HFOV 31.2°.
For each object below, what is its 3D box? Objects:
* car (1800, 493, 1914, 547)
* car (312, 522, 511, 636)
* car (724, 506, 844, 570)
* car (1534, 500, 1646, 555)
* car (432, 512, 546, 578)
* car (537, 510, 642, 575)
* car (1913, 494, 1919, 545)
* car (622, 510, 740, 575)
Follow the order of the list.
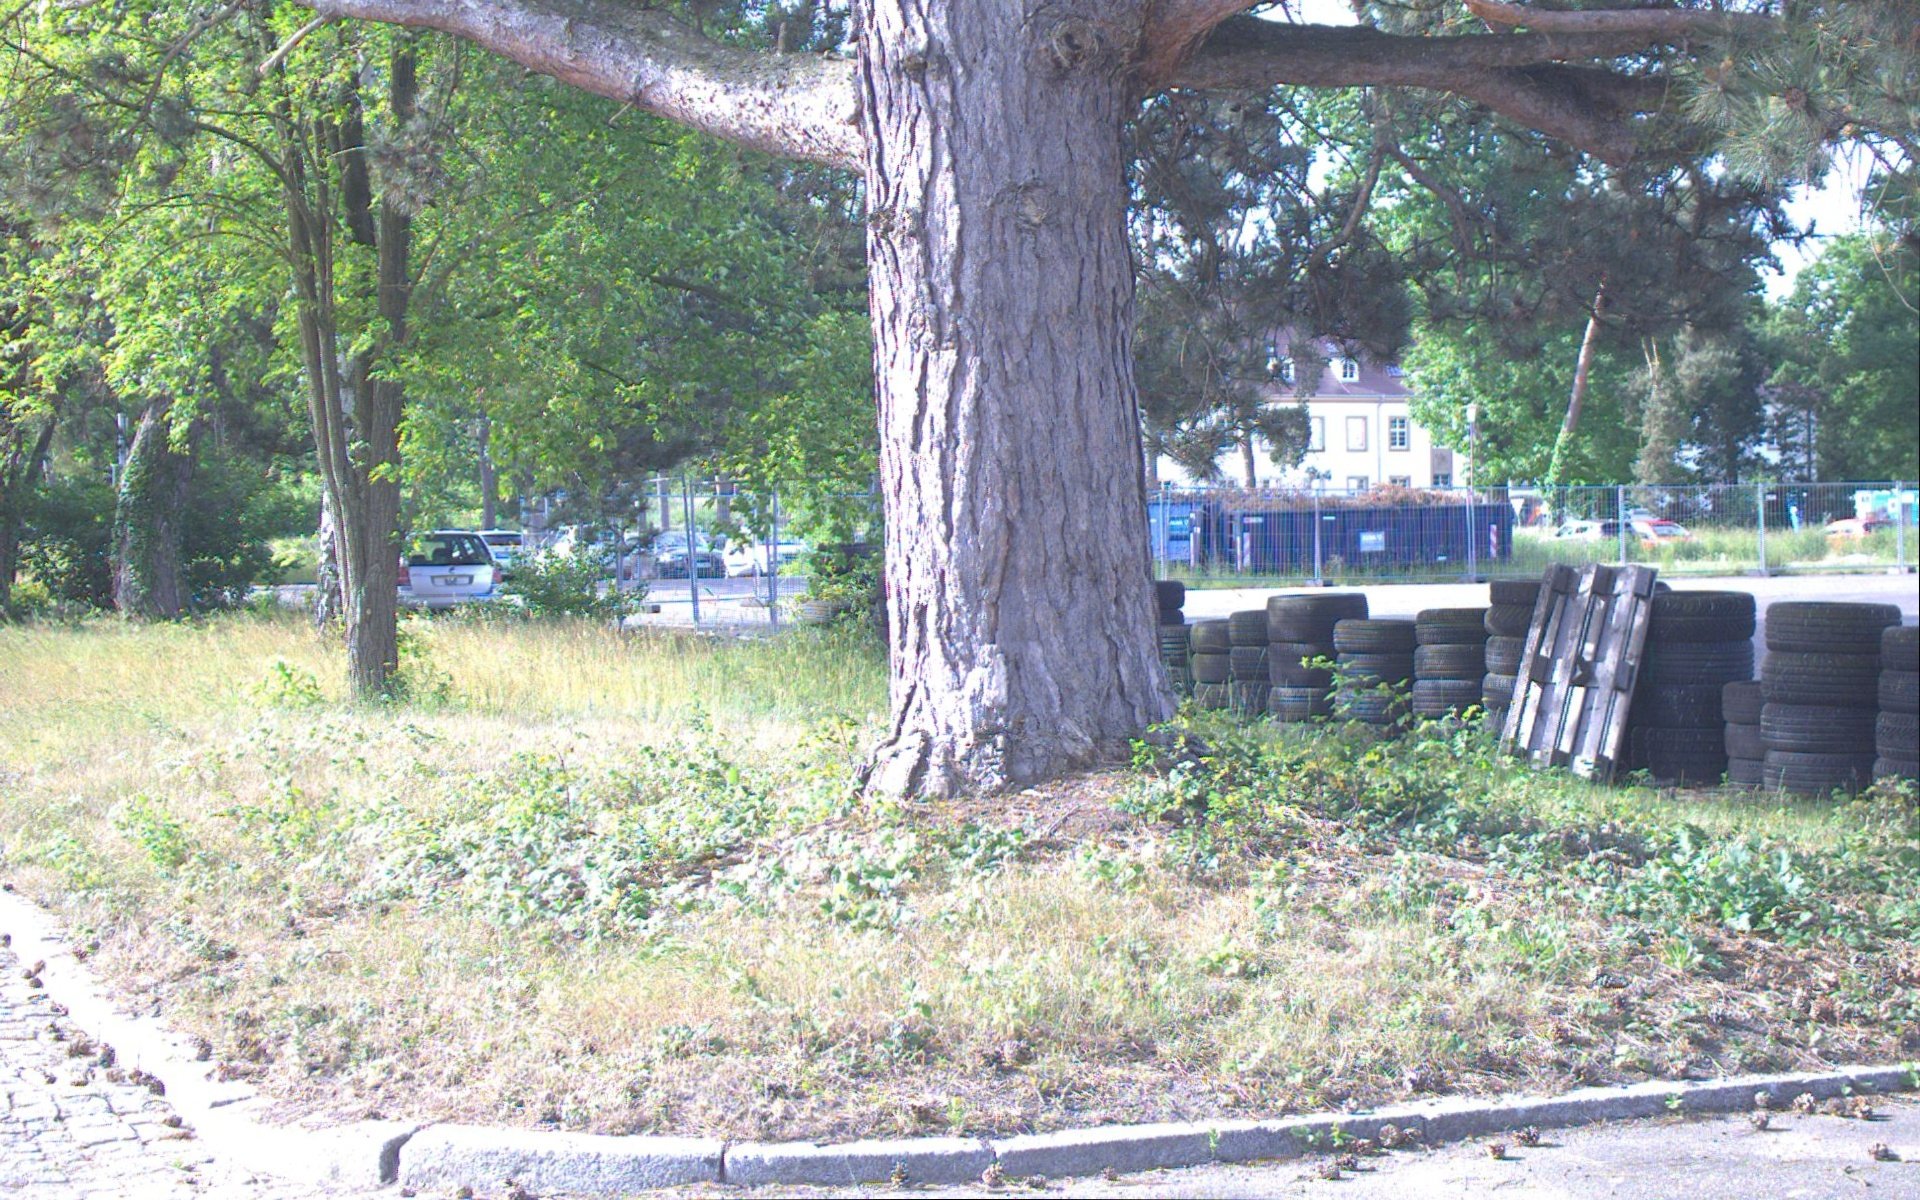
[{"bbox_3d":[30.242,-2.693,115.975,1.993,1.744,4.001,-1,1,-15],"label":"car"},{"bbox_3d":[-7.842,-0.333,48.885,1.886,1.535,4.001,-1,1,-23],"label":"car"},{"bbox_3d":[-4.687,-1.652,91.128,1.993,1.612,4.001,-1,1,-21],"label":"car"},{"bbox_3d":[20.587,-2.372,112.509,1.993,1.744,4.001,-1,1,-16],"label":"car"},{"bbox_3d":[-11.999,-1.404,87.415,1.993,1.612,4.001,-1,1,-21],"label":"car"},{"bbox_3d":[-9.575,-1.482,88.620,1.820,1.612,4.001,-1,1,-19],"label":"car"},{"bbox_3d":[34.586,-2.775,117.798,1.993,1.744,4.001,-1,1,-14],"label":"car"},{"bbox_3d":[-7.315,-1.513,89.795,1.993,1.612,4.001,-1,1,-21],"label":"car"}]
